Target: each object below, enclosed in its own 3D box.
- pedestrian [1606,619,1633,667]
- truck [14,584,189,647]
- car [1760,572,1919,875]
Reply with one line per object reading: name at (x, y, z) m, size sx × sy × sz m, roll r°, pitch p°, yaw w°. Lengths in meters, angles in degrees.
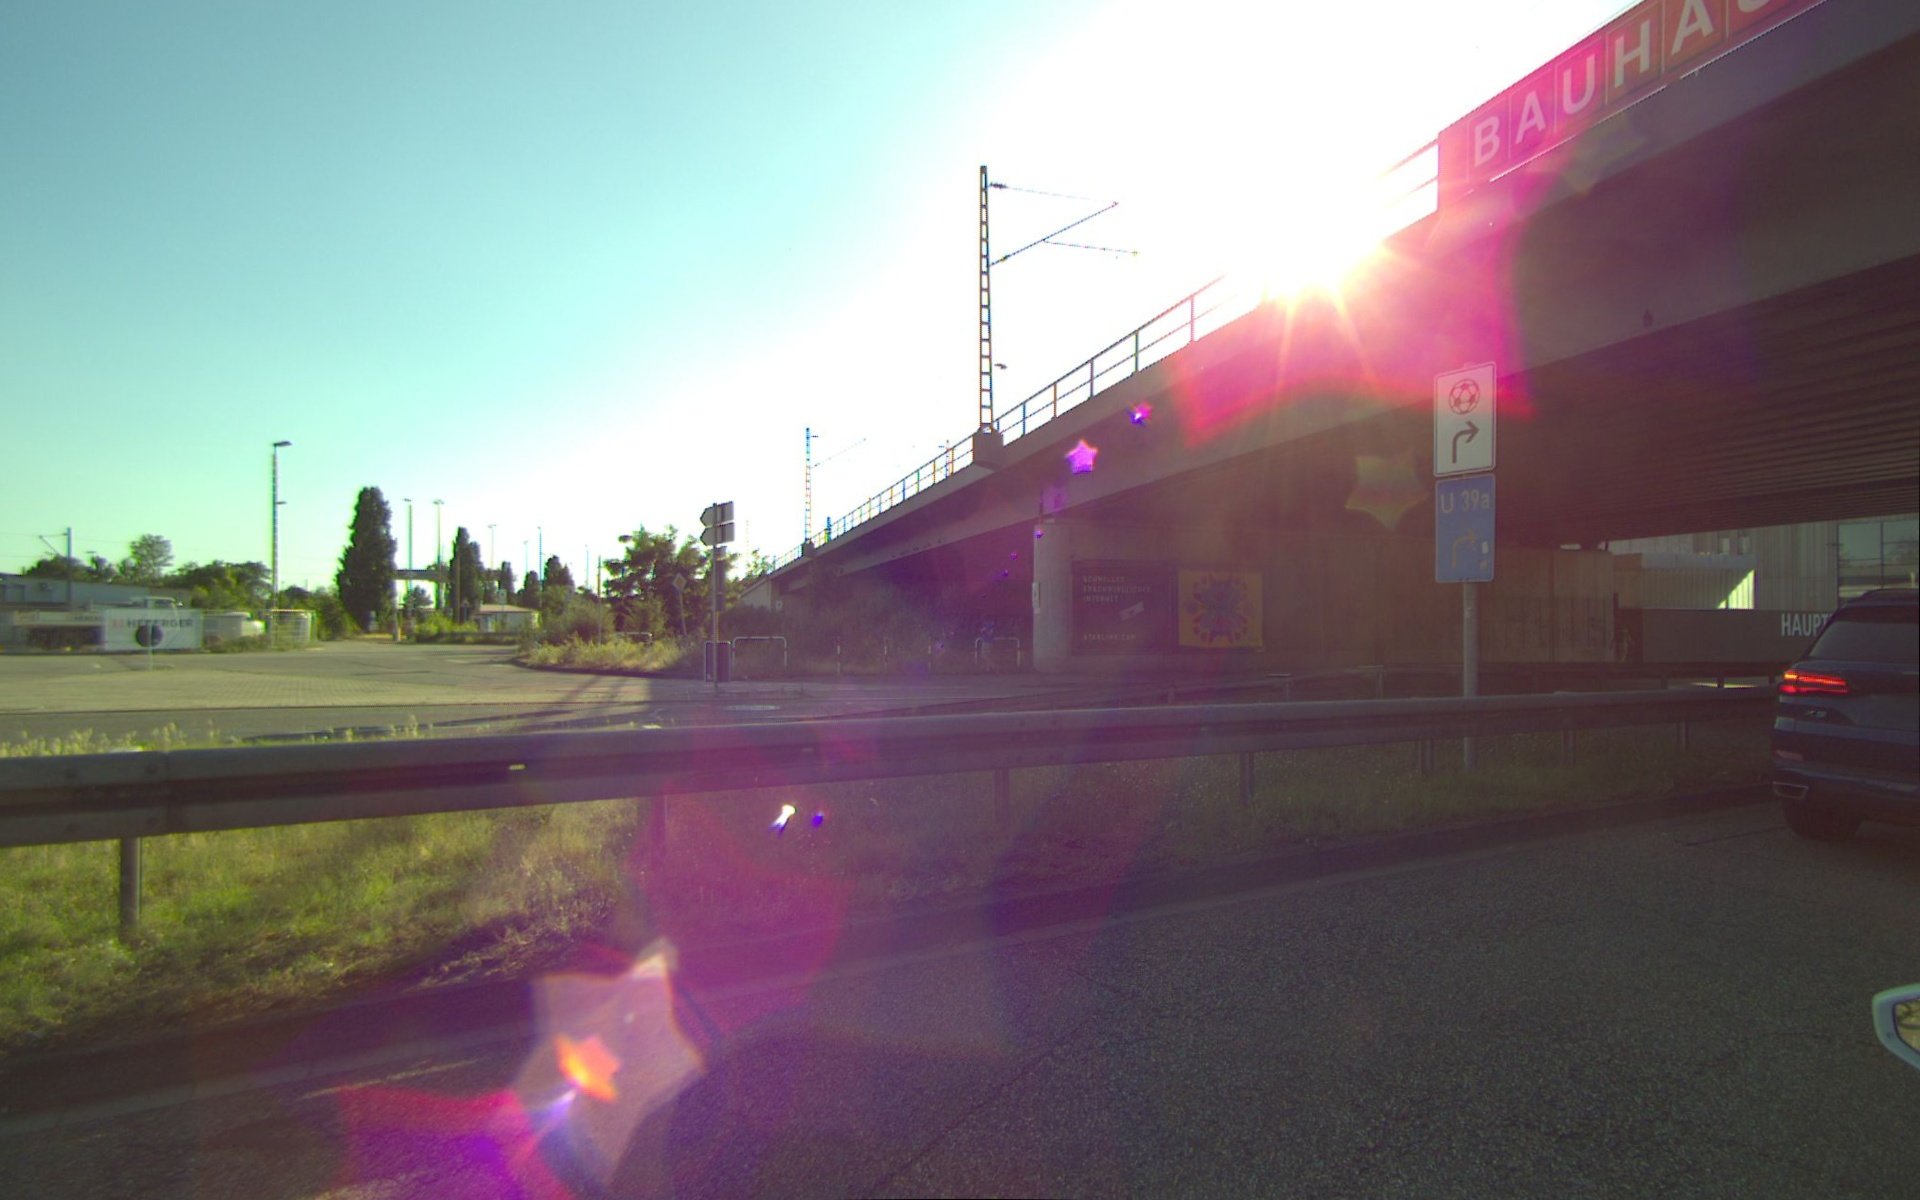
pedestrian at (26.794, 1.756, 40.818) m, size 0.656 × 1.928 × 0.692 m, roll 2°, pitch -1°, yaw -24°
truck at (-46.354, 0.906, 54.499) m, size 2.393 × 3.186 × 6.775 m, roll 1°, pitch -2°, yaw 25°
car at (7.568, 0.800, 6.829) m, size 4.408 × 1.761 × 1.821 m, roll 2°, pitch -2°, yaw -29°
